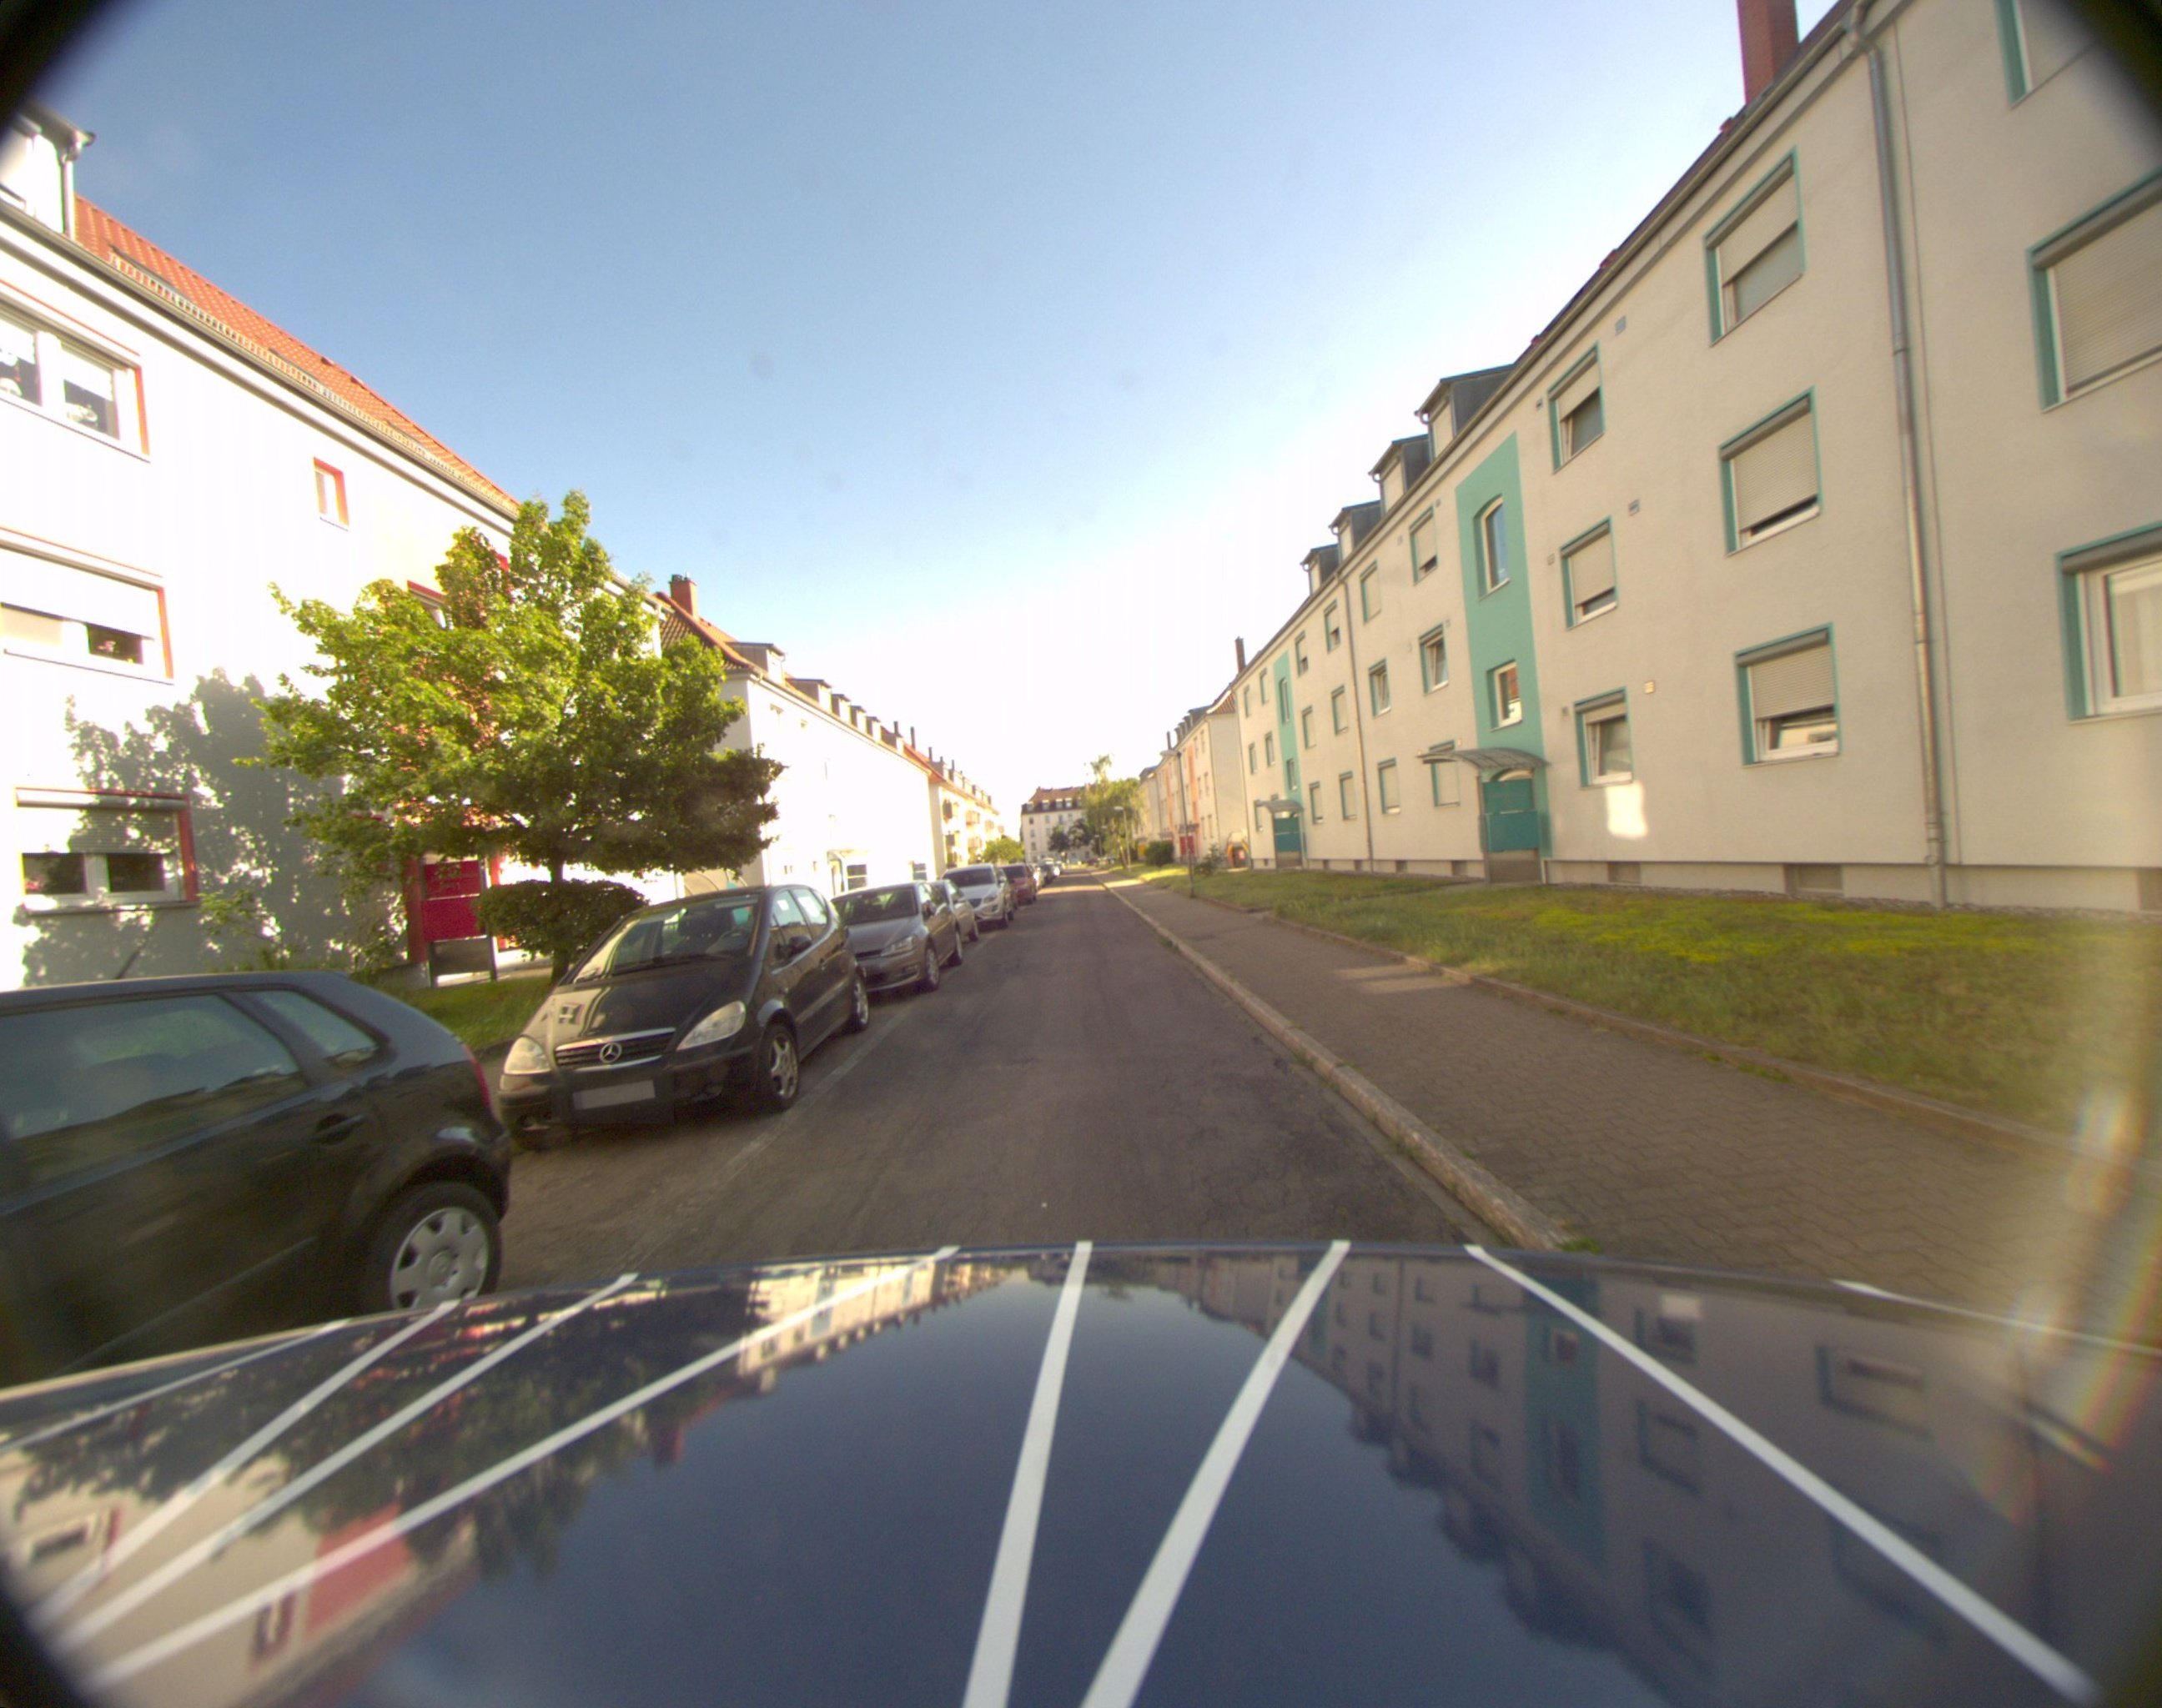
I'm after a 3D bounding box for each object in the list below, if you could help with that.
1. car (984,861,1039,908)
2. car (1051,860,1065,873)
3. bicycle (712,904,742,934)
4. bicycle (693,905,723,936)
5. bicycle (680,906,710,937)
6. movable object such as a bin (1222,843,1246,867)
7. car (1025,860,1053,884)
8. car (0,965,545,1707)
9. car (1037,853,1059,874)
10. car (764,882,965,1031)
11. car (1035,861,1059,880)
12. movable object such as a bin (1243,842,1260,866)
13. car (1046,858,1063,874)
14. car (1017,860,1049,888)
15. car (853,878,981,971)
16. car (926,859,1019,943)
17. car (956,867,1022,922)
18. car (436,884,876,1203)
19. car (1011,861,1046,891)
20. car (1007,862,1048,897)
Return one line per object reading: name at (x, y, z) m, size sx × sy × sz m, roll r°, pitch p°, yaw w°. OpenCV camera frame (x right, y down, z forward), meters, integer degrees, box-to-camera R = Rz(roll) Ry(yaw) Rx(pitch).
car at (-2.726, 1.181, 30.696) m, size 1.732 × 1.597 × 4.423 m, roll -5°, pitch 0°, yaw 0°
car at (-3.123, 1.660, 104.145) m, size 1.709 × 1.562 × 3.925 m, roll -5°, pitch 1°, yaw 0°
bicycle at (-12.295, 2.245, 26.417) m, size 0.319 × 0.940 × 1.283 m, roll -3°, pitch 0°, yaw 2°
bicycle at (-12.987, 2.296, 26.487) m, size 0.319 × 0.940 × 1.283 m, roll -3°, pitch 0°, yaw 2°
bicycle at (-13.484, 2.348, 26.569) m, size 0.319 × 0.940 × 1.283 m, roll -3°, pitch 0°, yaw 2°
movable object such as a bin at (9.303, 0.065, 46.167) m, size 1.167 × 1.385 × 0.877 m, roll -5°, pitch 0°, yaw 0°
car at (-3.037, 1.287, 55.449) m, size 1.709 × 1.562 × 4.041 m, roll -5°, pitch 0°, yaw 0°
car at (-3.026, 1.259, 1.191) m, size 1.577 × 1.409 × 3.787 m, roll -9°, pitch 0°, yaw -2°
car at (-3.429, 0.957, 79.919) m, size 1.953 × 1.889 × 4.763 m, roll -5°, pitch 1°, yaw 0°
car at (-2.747, 1.227, 10.566) m, size 1.633 × 1.441 × 3.952 m, roll -6°, pitch -1°, yaw -2°
car at (-3.185, 1.542, 71.580) m, size 1.708 × 1.562 × 4.381 m, roll -5°, pitch 1°, yaw 3°
movable object such as a bin at (10.372, -0.001, 46.190) m, size 0.753 × 1.385 × 0.763 m, roll -5°, pitch 0°, yaw 0°
car at (-3.000, 1.378, 86.618) m, size 1.709 × 1.562 × 4.734 m, roll -5°, pitch 1°, yaw 0°
car at (-3.109, 1.271, 49.586) m, size 1.709 × 1.562 × 4.041 m, roll -5°, pitch 0°, yaw 0°
car at (-3.050, 1.269, 14.844) m, size 1.632 × 1.386 × 3.489 m, roll -5°, pitch 0°, yaw 0°
car at (-2.672, 1.097, 19.686) m, size 1.780 × 1.709 × 4.306 m, roll -7°, pitch 0°, yaw -3°
car at (-2.951, 1.281, 25.173) m, size 1.621 × 1.440 × 3.857 m, roll -7°, pitch 0°, yaw -1°
car at (-2.980, 1.179, 6.292) m, size 1.622 × 1.541 × 3.610 m, roll -8°, pitch 0°, yaw -4°
car at (-3.094, 1.278, 45.049) m, size 1.709 × 1.562 × 3.876 m, roll -5°, pitch 0°, yaw 0°
car at (-2.648, 1.243, 38.452) m, size 1.709 × 1.516 × 3.876 m, roll -5°, pitch 0°, yaw 0°
